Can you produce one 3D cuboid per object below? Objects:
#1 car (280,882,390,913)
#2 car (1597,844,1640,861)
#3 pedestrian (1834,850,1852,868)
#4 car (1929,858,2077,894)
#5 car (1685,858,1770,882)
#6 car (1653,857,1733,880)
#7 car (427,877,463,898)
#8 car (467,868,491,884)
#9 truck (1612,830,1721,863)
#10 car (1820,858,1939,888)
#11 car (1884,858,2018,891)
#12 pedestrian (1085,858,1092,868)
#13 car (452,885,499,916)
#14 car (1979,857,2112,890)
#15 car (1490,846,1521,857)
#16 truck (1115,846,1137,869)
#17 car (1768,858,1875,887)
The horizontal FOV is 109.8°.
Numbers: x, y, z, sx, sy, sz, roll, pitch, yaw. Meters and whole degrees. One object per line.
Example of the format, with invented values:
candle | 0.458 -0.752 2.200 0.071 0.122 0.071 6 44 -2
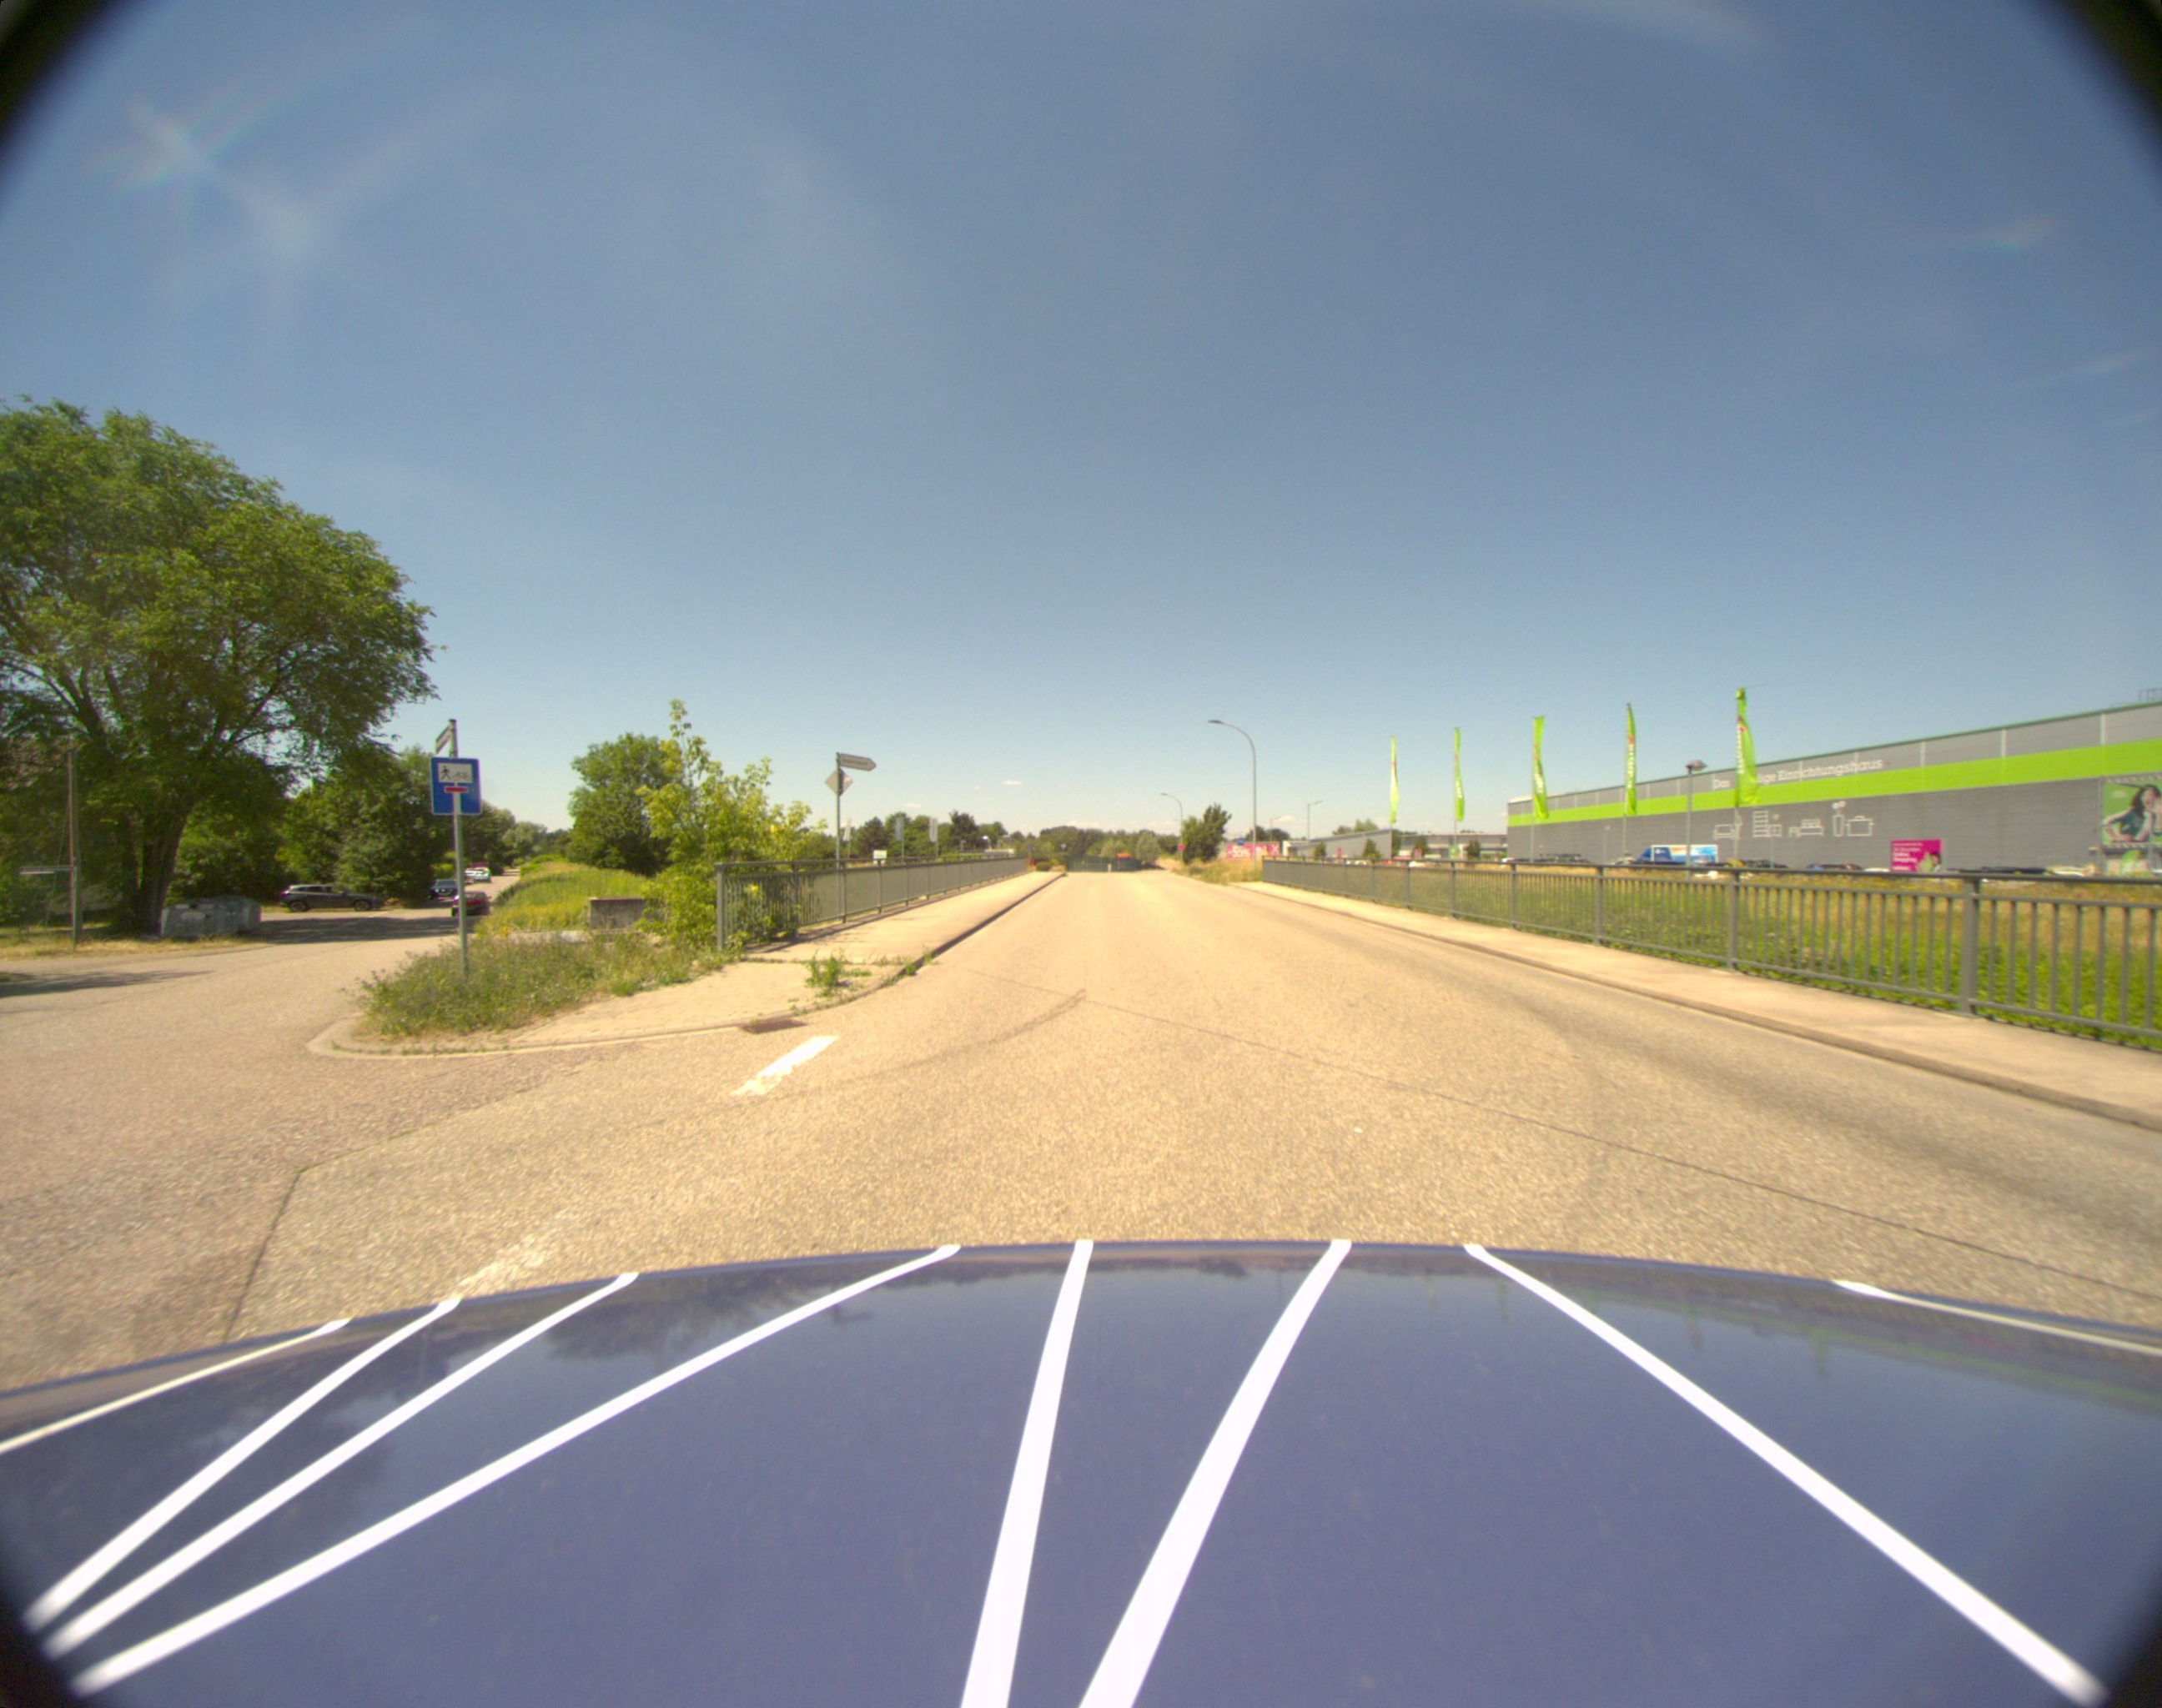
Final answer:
car | -45.135 2.595 46.149 4.521 1.614 1.995 0 0 -37
car | 69.234 -0.232 97.946 3.993 2.002 1.913 -2 0 12
pedestrian | 62.739 0.399 62.573 0.639 1.443 0.766 -2 0 2
car | 41.350 0.976 34.155 3.995 1.408 2.001 -2 0 5
car | 43.634 1.056 51.332 3.995 1.429 1.847 -2 0 5
car | 43.497 1.031 54.068 3.995 1.504 2.001 -2 0 5
car | -52.755 2.762 63.097 2.004 1.614 4.501 0 0 -36
car | -80.692 2.967 101.915 2.285 2.022 4.780 0 0 -36
truck | 53.424 -0.621 69.500 7.755 2.668 2.968 -2 -1 39
car | 42.223 0.988 40.256 3.995 1.435 2.001 -2 0 5
car | 42.142 0.975 36.880 3.995 1.401 2.001 -2 0 5
pedestrian | 1.509 1.873 152.990 1.303 2.001 1.217 -2 -1 10
car | -36.236 2.728 45.549 2.004 1.614 4.501 0 0 -36
car | 49.399 0.979 38.984 3.995 1.504 2.001 -2 0 5
car | 71.606 -0.423 128.222 3.995 1.729 2.001 -2 1 7
truck | 8.743 0.716 147.140 2.844 4.171 8.142 -2 -1 13
car | 42.038 1.034 43.211 3.995 1.422 2.001 -2 0 5
